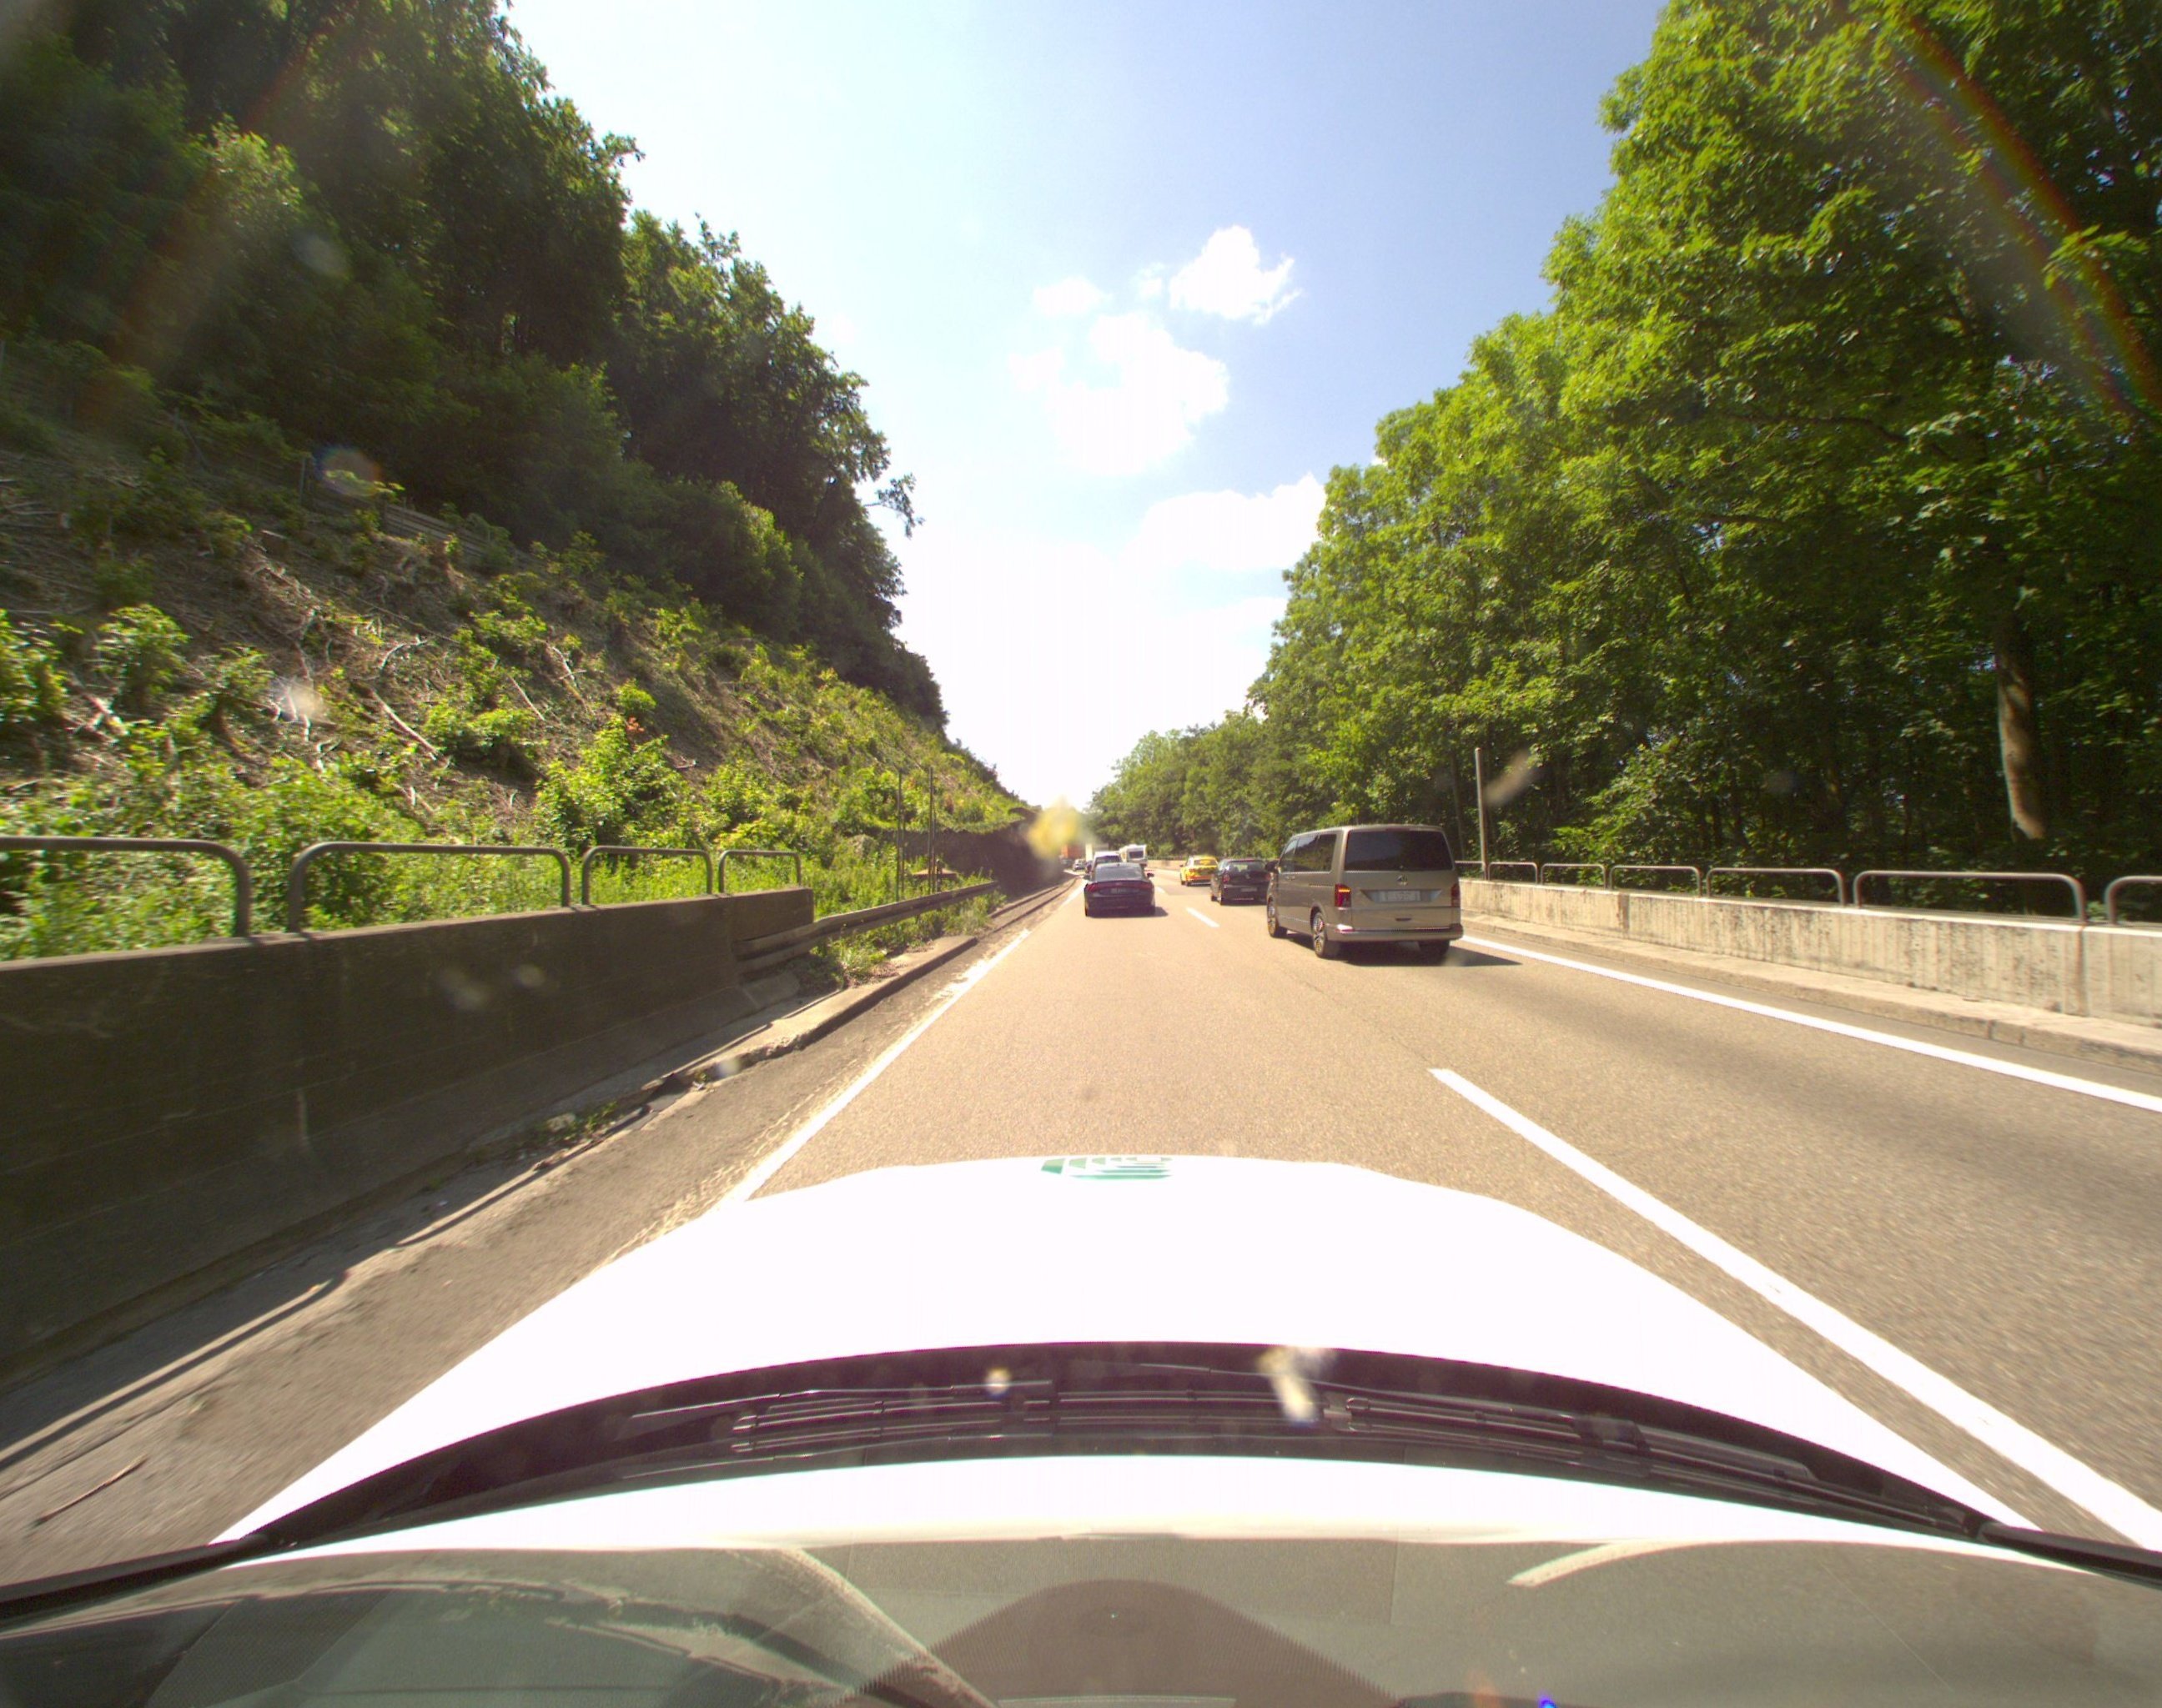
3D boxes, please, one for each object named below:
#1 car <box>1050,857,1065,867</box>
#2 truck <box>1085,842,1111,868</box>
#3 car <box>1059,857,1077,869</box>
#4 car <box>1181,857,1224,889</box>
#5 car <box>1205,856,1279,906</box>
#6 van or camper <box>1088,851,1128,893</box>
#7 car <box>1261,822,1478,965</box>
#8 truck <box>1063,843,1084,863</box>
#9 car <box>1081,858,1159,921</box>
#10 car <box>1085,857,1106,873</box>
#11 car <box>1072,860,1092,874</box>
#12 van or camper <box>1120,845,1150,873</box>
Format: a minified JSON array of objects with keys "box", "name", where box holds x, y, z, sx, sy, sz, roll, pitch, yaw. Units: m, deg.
[{"box":[-3.754,1.293,129.628,1.751,1.571,3.758,0,0,-10],"name":"car"},{"box":[2.515,0.113,122.033,2.922,3.687,7.707,2,0,-6],"name":"truck"},{"box":[-1.830,1.251,114.988,1.753,1.571,3.753,0,0,-13],"name":"car"},{"box":[6.156,0.929,41.626,1.800,1.478,4.085,1,0,4],"name":"car"},{"box":[5.070,0.799,26.099,1.678,1.458,4.002,-1,0,2],"name":"car"},{"box":[1.388,0.853,40.842,1.846,1.942,4.167,1,0,2],"name":"van or camper"},{"box":[4.415,0.538,13.338,1.934,1.931,4.694,0,0,0],"name":"car"},{"box":[-1.456,-0.197,144.809,3.157,3.468,8.210,2,0,-4],"name":"truck"},{"box":[0.997,0.917,22.938,1.899,1.489,4.378,-3,0,0],"name":"car"},{"box":[1.539,1.146,87.114,1.855,1.620,3.992,0,0,-6],"name":"car"},{"box":[0.118,1.620,101.247,1.991,1.618,3.992,1,0,-6],"name":"car"},{"box":[5.619,0.533,85.743,2.597,2.855,6.330,0,0,-2],"name":"van or camper"}]
